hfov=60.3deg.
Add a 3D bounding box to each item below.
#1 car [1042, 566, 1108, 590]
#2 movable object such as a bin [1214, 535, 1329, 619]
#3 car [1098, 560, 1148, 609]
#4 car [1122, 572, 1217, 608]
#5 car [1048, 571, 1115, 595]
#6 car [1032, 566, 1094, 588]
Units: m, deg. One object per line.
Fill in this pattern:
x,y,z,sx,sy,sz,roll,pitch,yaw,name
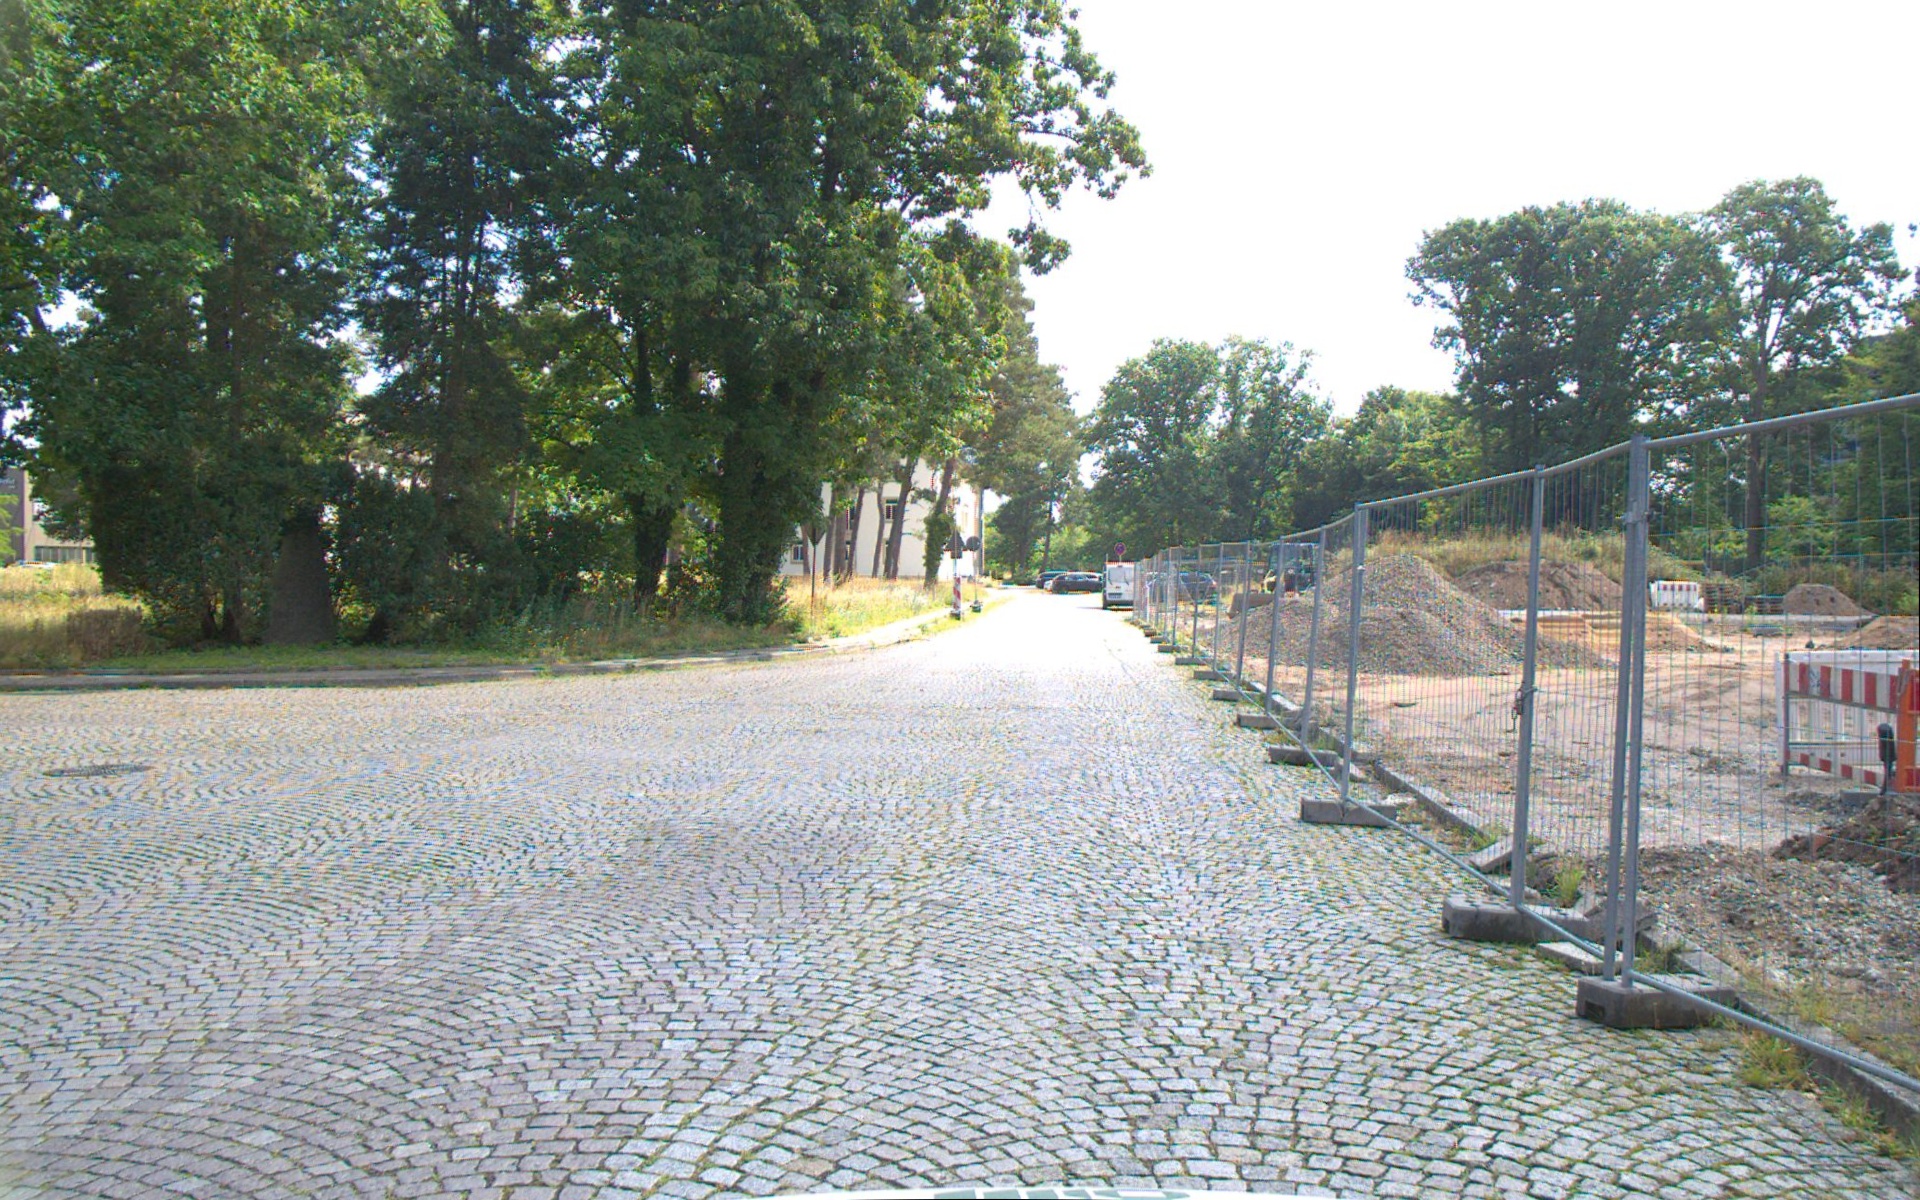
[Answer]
8.602,-1.664,124.004,4.683,1.669,1.999,1,1,-2,car
10.338,-0.756,54.642,2.090,2.638,4.779,1,1,32,movable object such as a bin
7.155,-0.704,72.912,1.952,2.049,4.092,1,1,2,car
9.975,-0.503,78.559,4.309,1.536,2.002,2,1,11,car
8.844,-1.244,121.028,4.683,1.669,1.999,1,1,-2,car
8.075,-1.808,130.391,4.683,1.669,1.999,1,1,-2,car
